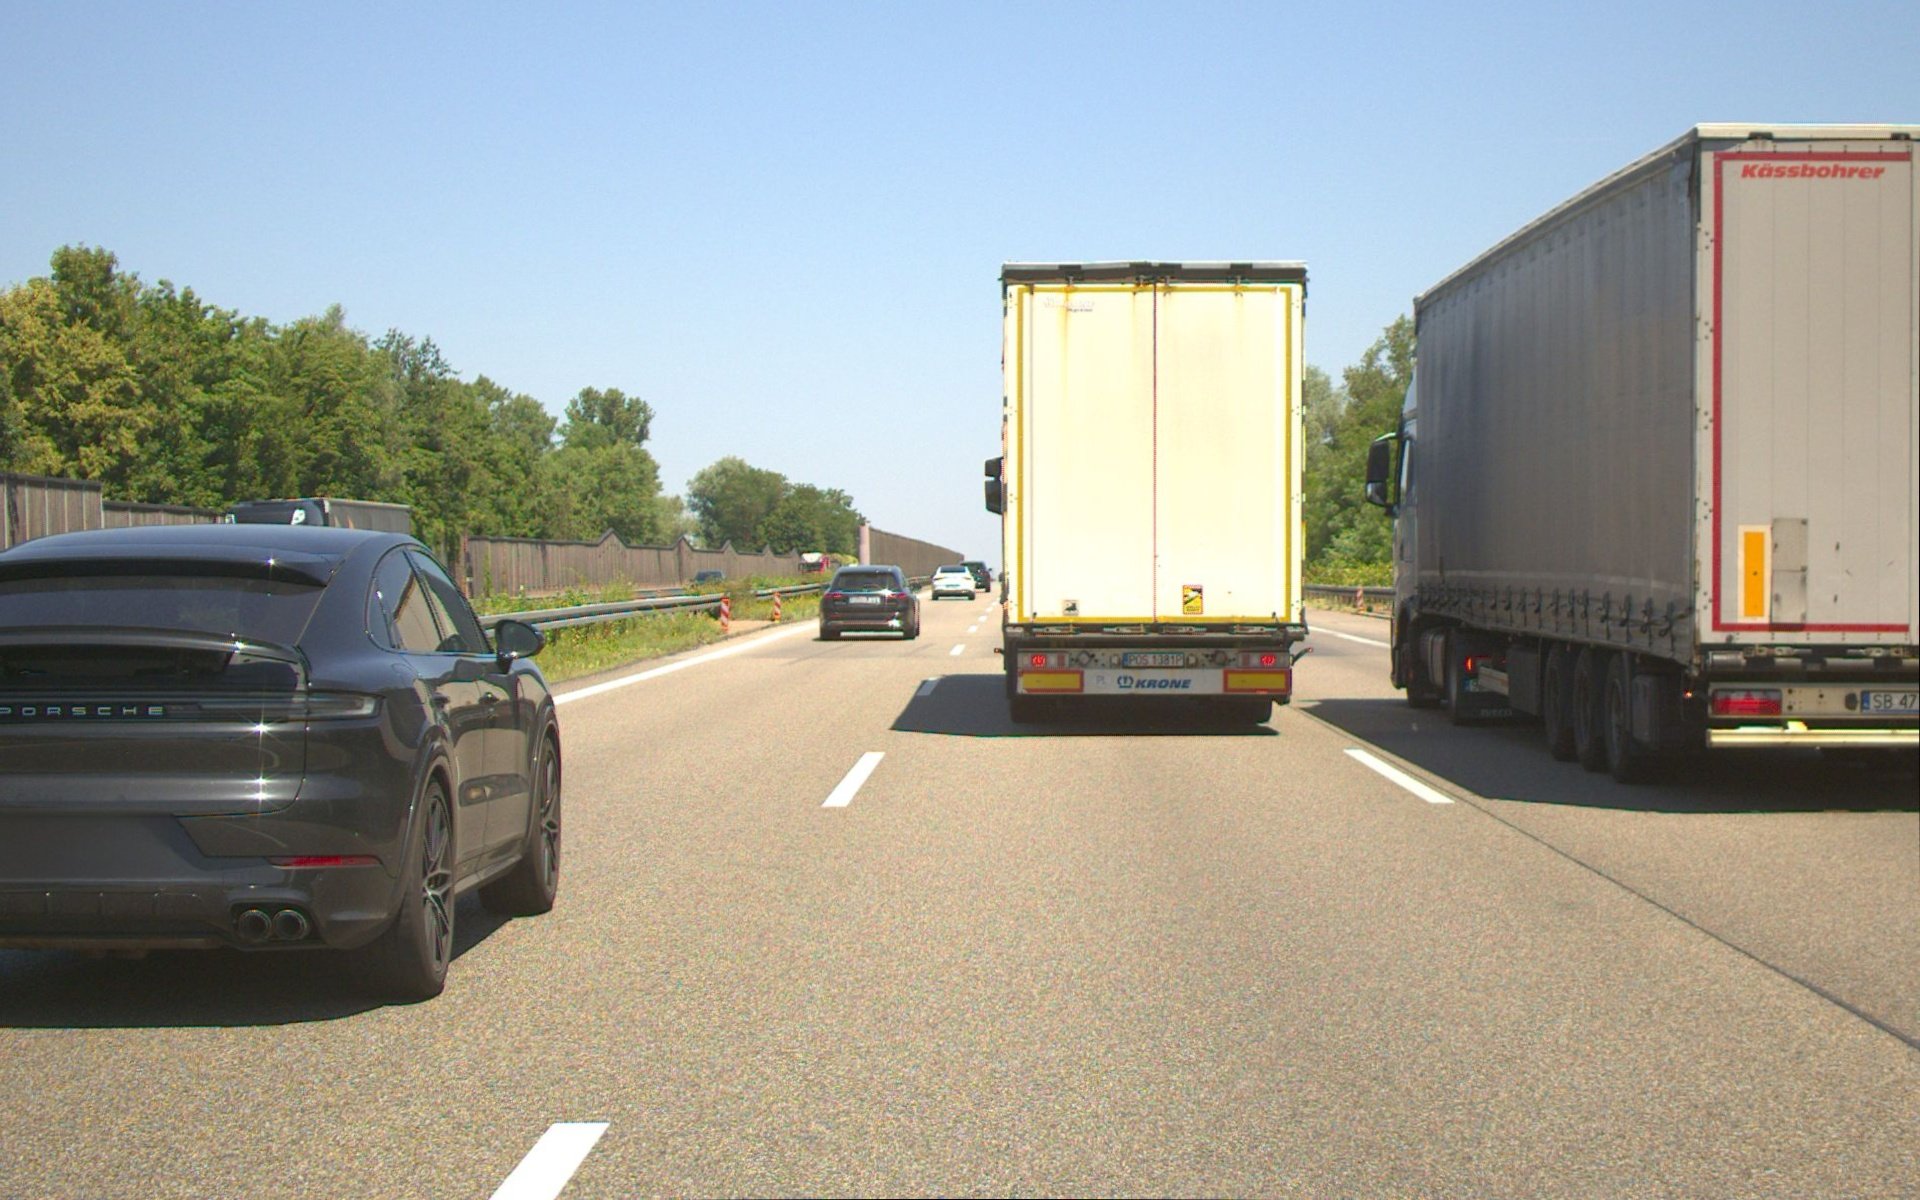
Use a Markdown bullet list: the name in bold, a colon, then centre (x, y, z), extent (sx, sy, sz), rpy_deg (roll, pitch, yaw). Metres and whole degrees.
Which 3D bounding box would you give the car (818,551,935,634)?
- **car**: centre (-1.632, -0.182, 69.187), extent (1.943, 1.501, 5.821), rpy_deg (-2, 1, 2)

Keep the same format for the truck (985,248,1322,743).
- **truck**: centre (1.689, -0.940, 35.487), extent (2.707, 4.072, 13.474), rpy_deg (-2, 1, 1)

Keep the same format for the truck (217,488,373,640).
- **truck**: centre (-18.775, -1.020, 97.555), extent (2.728, 4.072, 7.838), rpy_deg (-2, 1, 1)

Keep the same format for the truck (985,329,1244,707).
- **truck**: centre (1.731, -0.939, 41.337), extent (2.728, 4.072, 7.277), rpy_deg (-2, 1, 1)

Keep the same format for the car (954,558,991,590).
- **car**: centre (0.666, -1.405, 186.480), extent (1.855, 1.611, 4.000), rpy_deg (-3, 1, -1)

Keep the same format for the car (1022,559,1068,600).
- **car**: centre (3.639, -0.889, 146.934), extent (1.855, 1.611, 4.000), rpy_deg (-3, 1, 2)

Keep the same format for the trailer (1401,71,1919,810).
- **trailer**: centre (5.563, -0.995, 26.313), extent (2.703, 4.201, 13.212), rpy_deg (-2, 1, 1)

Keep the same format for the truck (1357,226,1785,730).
- **truck**: centre (5.633, -1.071, 33.059), extent (2.691, 4.201, 7.838), rpy_deg (-2, 1, 1)

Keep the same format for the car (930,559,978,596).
- **car**: centre (-0.251, -0.959, 146.759), extent (1.855, 1.481, 4.000), rpy_deg (-3, 1, 2)

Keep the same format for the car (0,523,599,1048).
- **car**: centre (-2.788, 0.536, 13.537), extent (2.044, 1.619, 5.772), rpy_deg (-1, 1, 1)
